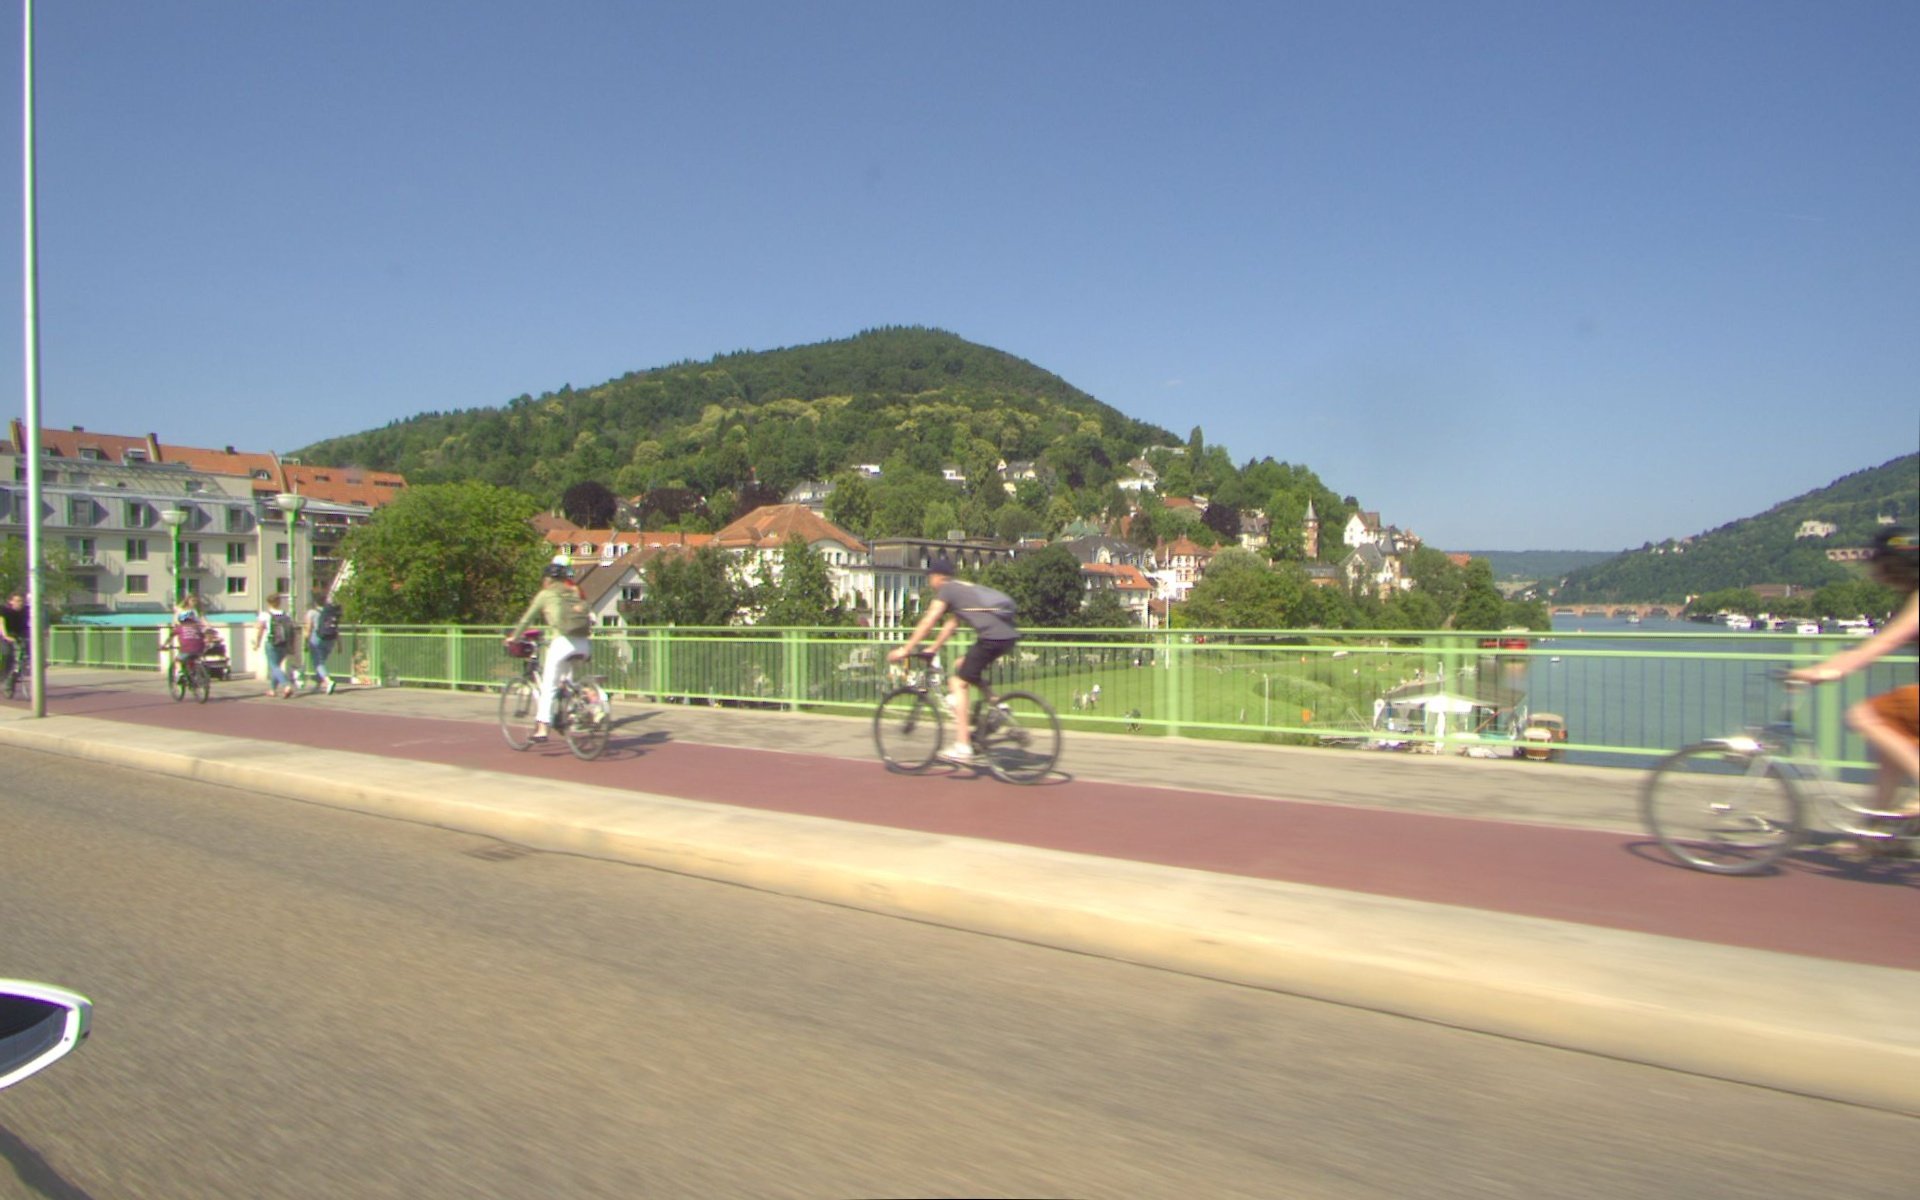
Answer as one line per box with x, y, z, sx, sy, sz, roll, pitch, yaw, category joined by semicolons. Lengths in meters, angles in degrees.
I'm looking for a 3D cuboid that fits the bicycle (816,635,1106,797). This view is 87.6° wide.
-0.034;0.826;7.703;2.232;1.051;0.617;0;0;31;bicycle

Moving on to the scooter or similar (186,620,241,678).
-14.565;0.946;19.539;0.852;1.083;0.587;0;0;30;scooter or similar

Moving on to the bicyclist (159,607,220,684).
-11.701;0.671;15.208;0.842;1.116;0.596;1;0;42;bicyclist

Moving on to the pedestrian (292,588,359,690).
-10.329;0.623;16.304;0.854;1.607;0.598;1;1;30;pedestrian

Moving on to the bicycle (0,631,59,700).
-15.271;1.032;16.306;2.154;0.995;0.649;-1;1;42;bicycle

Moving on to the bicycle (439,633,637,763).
-3.929;0.854;9.265;2.020;1.051;0.617;0;0;31;bicycle

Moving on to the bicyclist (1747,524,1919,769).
4.314;0.202;4.615;0.965;1.059;0.666;0;0;29;bicyclist

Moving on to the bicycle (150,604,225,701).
-11.802;0.761;15.265;2.191;1.385;0.531;0;0;42;bicycle

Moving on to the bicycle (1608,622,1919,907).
4.260;0.720;4.649;2.048;1.209;0.694;0;1;29;bicycle

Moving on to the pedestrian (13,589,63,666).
-22.553;0.661;24.500;0.835;1.835;0.711;1;1;32;pedestrian

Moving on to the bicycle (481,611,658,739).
-4.345;0.777;11.080;2.183;1.288;0.617;0;0;31;bicycle

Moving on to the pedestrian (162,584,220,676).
-15.322;0.580;19.957;0.854;1.780;0.641;1;1;30;pedestrian

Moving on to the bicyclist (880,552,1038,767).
-0.002;0.425;7.656;0.966;1.520;0.734;1;1;30;bicyclist

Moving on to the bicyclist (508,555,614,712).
-4.421;0.355;11.112;0.854;1.657;0.734;1;1;30;bicyclist

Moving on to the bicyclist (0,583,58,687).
-15.069;0.542;16.100;1.322;1.588;0.649;0;2;42;bicyclist

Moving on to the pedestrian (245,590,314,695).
-10.778;0.657;15.856;0.854;1.607;0.598;1;1;30;pedestrian

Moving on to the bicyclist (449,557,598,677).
-4.062;0.149;9.321;1.158;1.044;0.734;0;0;31;bicyclist
